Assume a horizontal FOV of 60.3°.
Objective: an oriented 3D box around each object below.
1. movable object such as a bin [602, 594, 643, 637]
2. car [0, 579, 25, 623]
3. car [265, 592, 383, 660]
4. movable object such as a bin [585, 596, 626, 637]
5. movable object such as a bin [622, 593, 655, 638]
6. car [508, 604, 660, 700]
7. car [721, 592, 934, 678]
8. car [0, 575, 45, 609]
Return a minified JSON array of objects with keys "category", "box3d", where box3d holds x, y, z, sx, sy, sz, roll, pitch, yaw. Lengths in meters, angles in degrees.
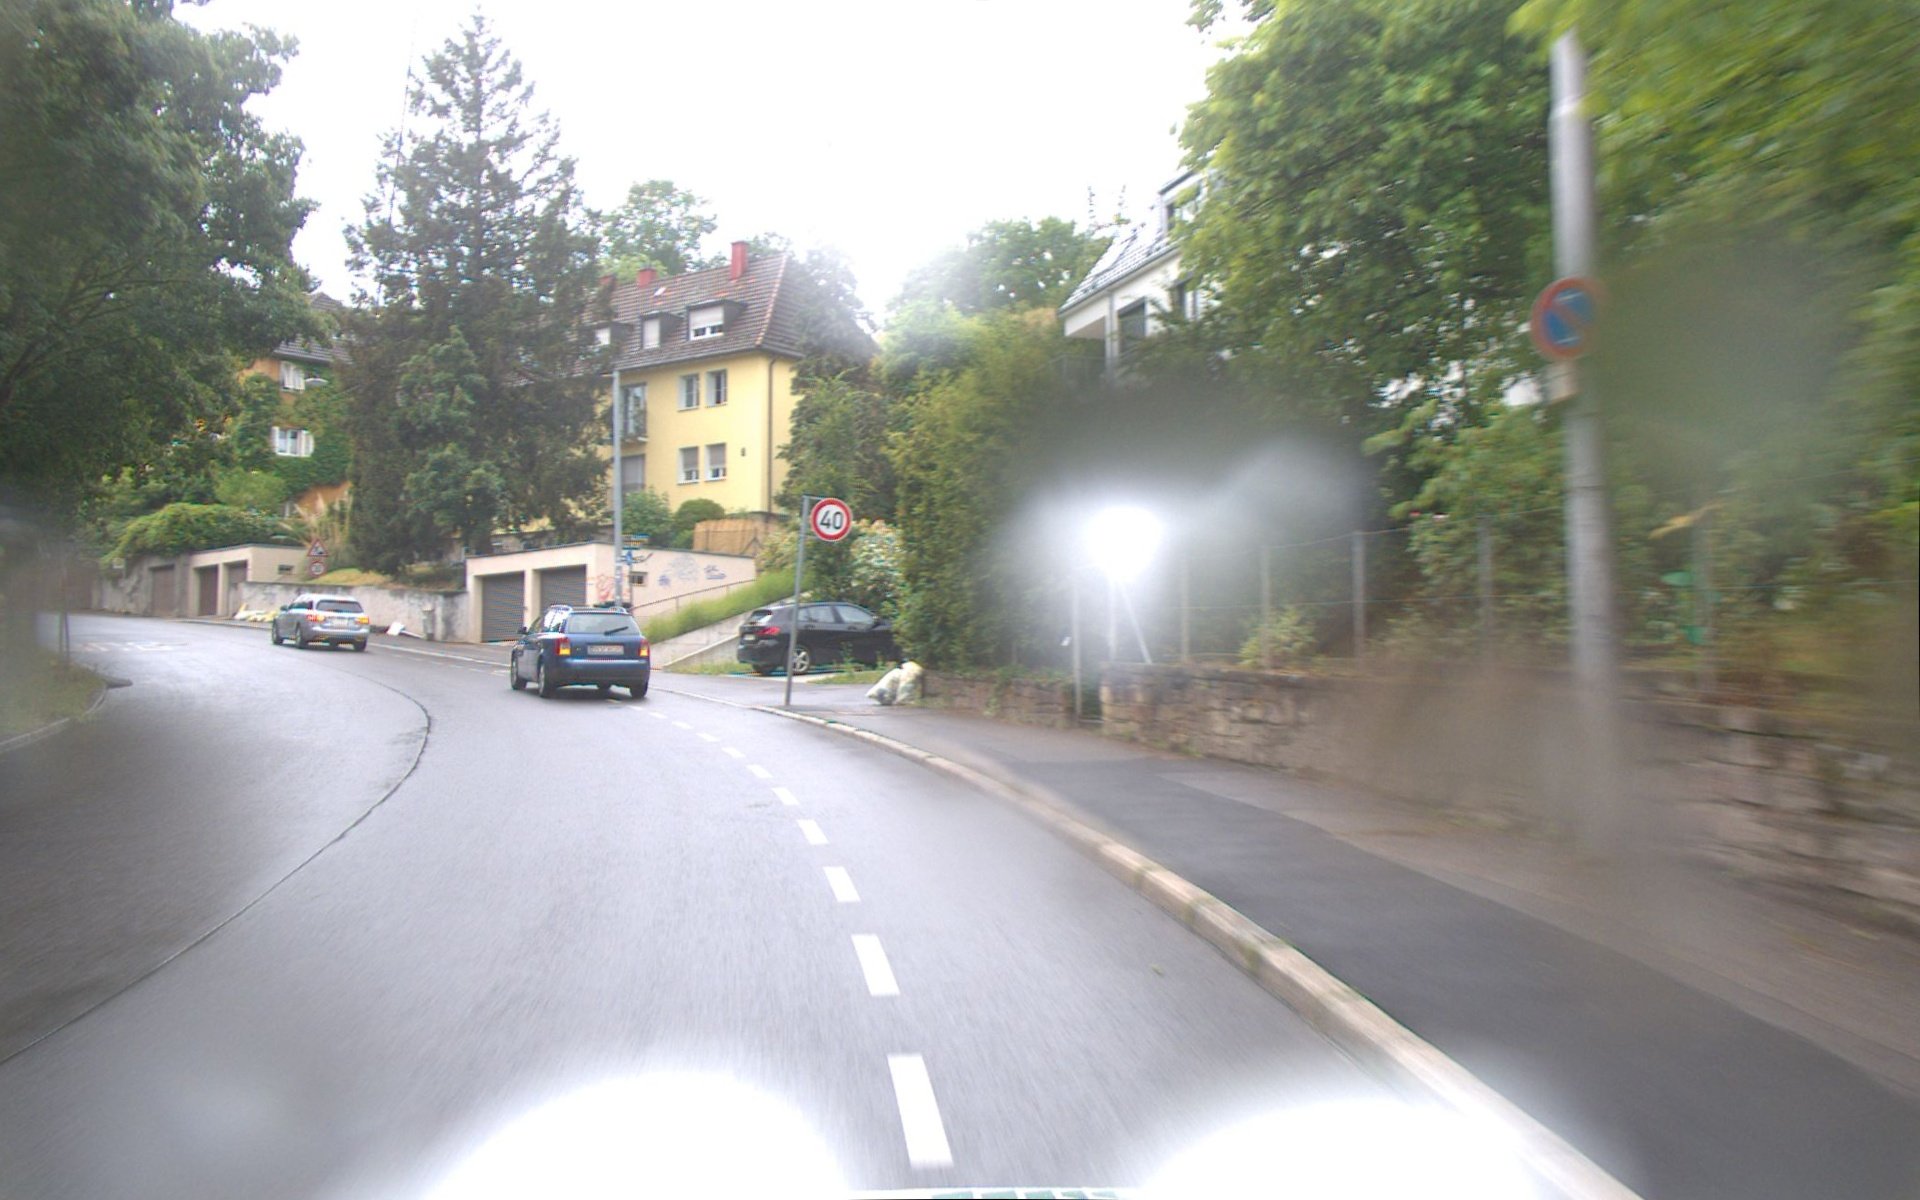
[{"category":"movable object such as a bin","box3d":[-9.611,0.446,47.125,0.773,1.206,0.857,0,0,40]},{"category":"car","box3d":[-35.697,0.007,60.225,1.985,1.557,3.936,1,0,-44]},{"category":"car","box3d":[-17.688,0.694,45.889,1.936,1.588,4.207,2,1,-37]},{"category":"movable object such as a bin","box3d":[-10.219,0.462,47.636,0.785,1.162,0.857,0,0,40]},{"category":"movable object such as a bin","box3d":[-9.073,0.434,46.689,0.570,1.245,0.701,0,0,40]},{"category":"car","box3d":[-6.423,0.809,27.923,1.828,1.438,4.332,0,0,-22]},{"category":"car","box3d":[-2.734,0.685,34.558,4.135,1.534,1.719,-3,1,-35]},{"category":"car","box3d":[-48.306,-0.418,83.637,3.917,1.713,1.994,1,0,33]}]
